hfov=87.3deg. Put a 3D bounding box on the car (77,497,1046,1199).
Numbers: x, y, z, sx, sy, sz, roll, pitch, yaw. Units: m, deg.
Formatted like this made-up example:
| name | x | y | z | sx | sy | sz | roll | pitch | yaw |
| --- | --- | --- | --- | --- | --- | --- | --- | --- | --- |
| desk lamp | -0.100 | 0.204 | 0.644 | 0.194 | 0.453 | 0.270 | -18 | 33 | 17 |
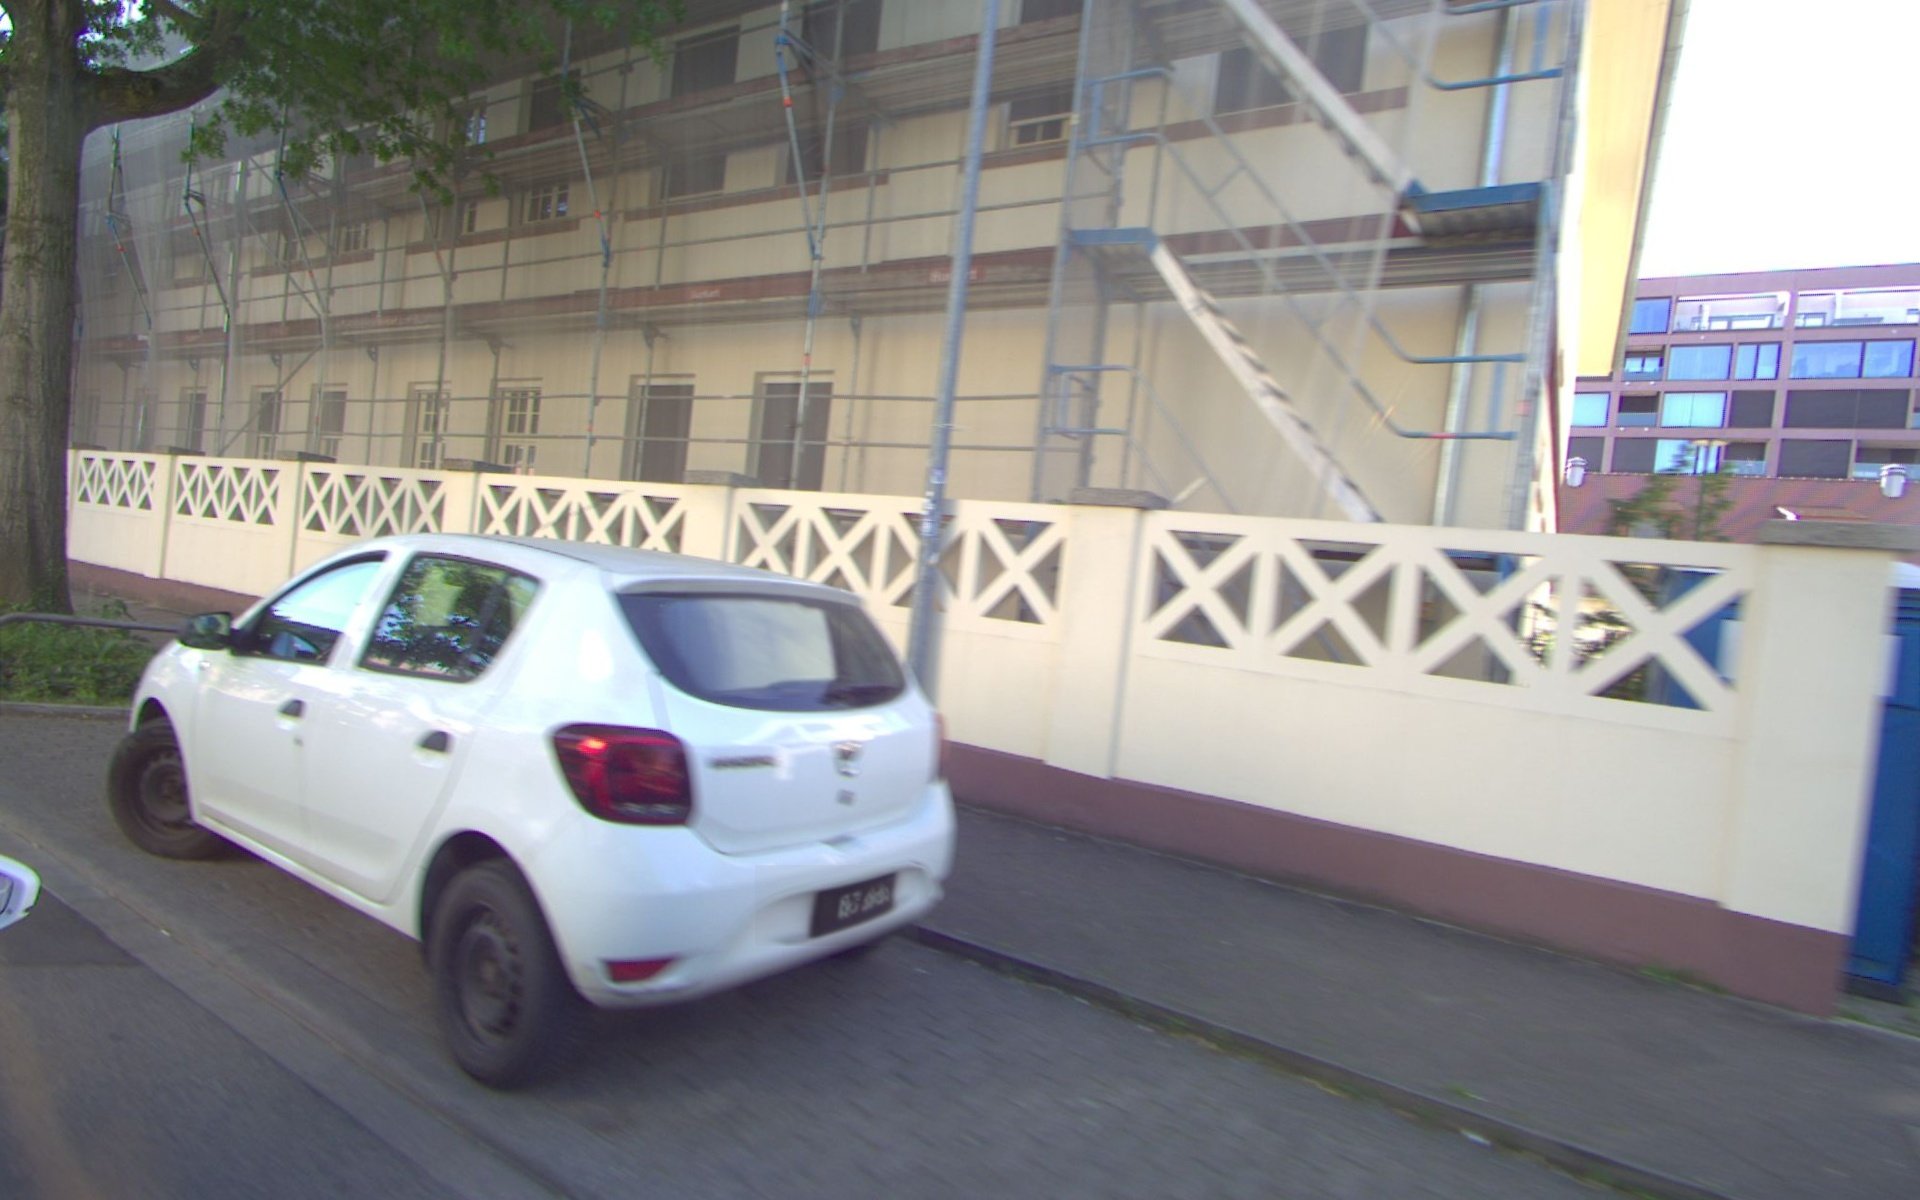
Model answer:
| name | x | y | z | sx | sy | sz | roll | pitch | yaw |
| --- | --- | --- | --- | --- | --- | --- | --- | --- | --- |
| car | -1.845 | 0.543 | 4.109 | 3.928 | 1.530 | 1.723 | 7 | 2 | 35 |
